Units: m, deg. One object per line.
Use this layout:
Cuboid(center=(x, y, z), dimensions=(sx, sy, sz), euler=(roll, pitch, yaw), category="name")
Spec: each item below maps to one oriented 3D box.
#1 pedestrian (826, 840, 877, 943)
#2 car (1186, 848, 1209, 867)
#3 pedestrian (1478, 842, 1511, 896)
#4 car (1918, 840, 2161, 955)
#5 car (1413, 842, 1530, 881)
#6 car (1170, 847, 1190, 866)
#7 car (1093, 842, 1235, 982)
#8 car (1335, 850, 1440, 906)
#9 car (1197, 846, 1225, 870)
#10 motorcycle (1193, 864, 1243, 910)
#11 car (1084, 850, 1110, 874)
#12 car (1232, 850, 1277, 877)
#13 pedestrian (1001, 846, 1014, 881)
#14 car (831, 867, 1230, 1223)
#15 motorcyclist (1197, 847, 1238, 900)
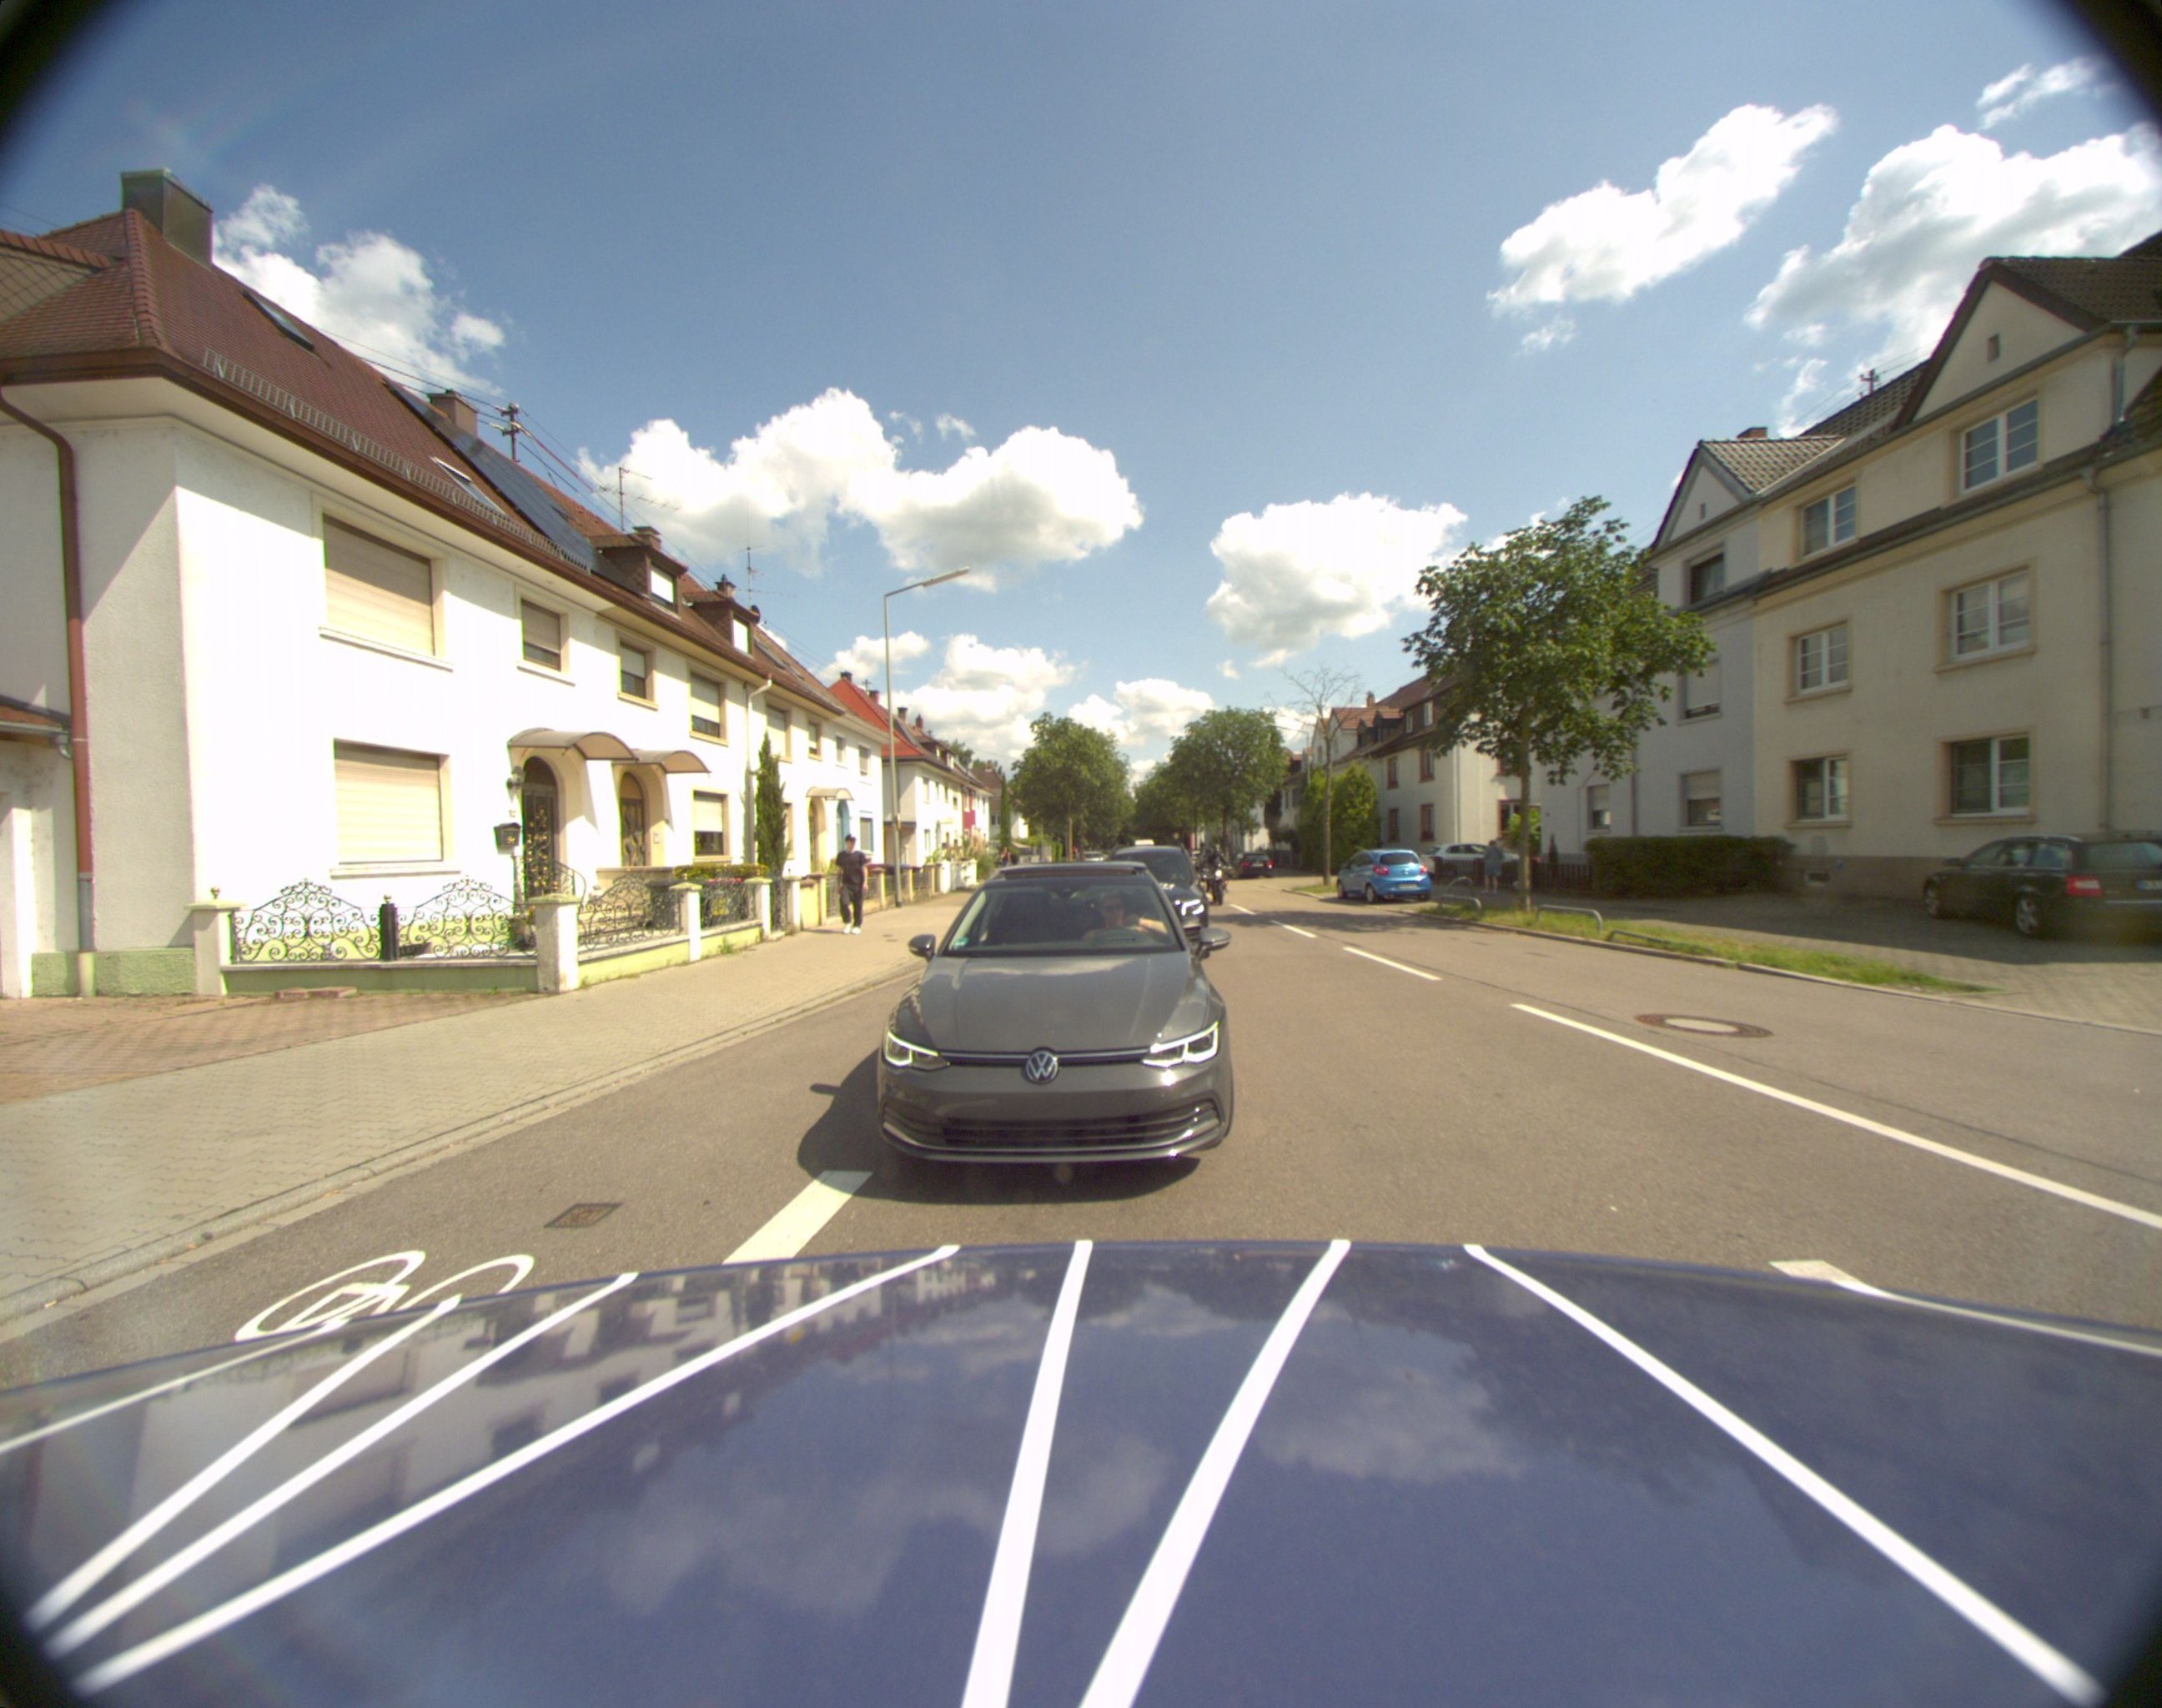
Cuboid(center=(-4.081, 0.641, 13.539), dimensions=(0.592, 1.757, 0.937), euler=(-1, 1, 1), category="pedestrian")
Cuboid(center=(9.127, 0.281, 59.445), dimensions=(1.623, 1.417, 3.002), euler=(-2, 0, 6), category="car")
Cuboid(center=(11.985, 0.430, 22.037), dimensions=(0.632, 1.527, 0.618), euler=(-1, 1, 1), category="pedestrian")
Cuboid(center=(14.239, 0.506, 10.981), dimensions=(1.757, 1.378, 4.110), euler=(-1, 1, 31), category="car")
Cuboid(center=(15.632, 0.294, 30.569), dimensions=(3.805, 1.446, 1.711), euler=(-1, 1, 4), category="car")
Cuboid(center=(8.939, 0.227, 68.487), dimensions=(1.562, 1.645, 3.252), euler=(-1, 0, 4), category="car")
Cuboid(center=(1.110, 0.726, 12.099), dimensions=(1.776, 1.754, 4.874), euler=(-1, 0, 1), category="car")
Cuboid(center=(8.622, 0.629, 21.641), dimensions=(1.709, 1.454, 3.154), euler=(-1, 0, 1), category="car")
Cuboid(center=(9.118, 0.263, 53.419), dimensions=(1.562, 1.645, 3.574), euler=(-1, 0, 4), category="car")
Cuboid(center=(3.756, 0.878, 21.006), dimensions=(0.843, 1.121, 2.358), euler=(-1, 0, -3), category="motorcycle")
Cuboid(center=(1.073, 0.484, 49.949), dimensions=(1.381, 1.493, 3.002), euler=(-2, 0, 6), category="car")
Cuboid(center=(8.951, 0.470, 39.477), dimensions=(1.709, 1.289, 3.918), euler=(-1, 0, 4), category="car")
Cuboid(center=(-3.688, 0.465, 38.178), dimensions=(0.519, 1.701, 0.618), euler=(-1, 1, 2), category="pedestrian")
Cuboid(center=(-0.256, 0.898, 5.768), dimensions=(1.766, 1.465, 4.686), euler=(-1, 0, -1), category="car")
Cuboid(center=(3.756, 0.553, 21.022), dimensions=(0.825, 1.390, 1.100), euler=(-3, -2, -3), category="motorcyclist")
